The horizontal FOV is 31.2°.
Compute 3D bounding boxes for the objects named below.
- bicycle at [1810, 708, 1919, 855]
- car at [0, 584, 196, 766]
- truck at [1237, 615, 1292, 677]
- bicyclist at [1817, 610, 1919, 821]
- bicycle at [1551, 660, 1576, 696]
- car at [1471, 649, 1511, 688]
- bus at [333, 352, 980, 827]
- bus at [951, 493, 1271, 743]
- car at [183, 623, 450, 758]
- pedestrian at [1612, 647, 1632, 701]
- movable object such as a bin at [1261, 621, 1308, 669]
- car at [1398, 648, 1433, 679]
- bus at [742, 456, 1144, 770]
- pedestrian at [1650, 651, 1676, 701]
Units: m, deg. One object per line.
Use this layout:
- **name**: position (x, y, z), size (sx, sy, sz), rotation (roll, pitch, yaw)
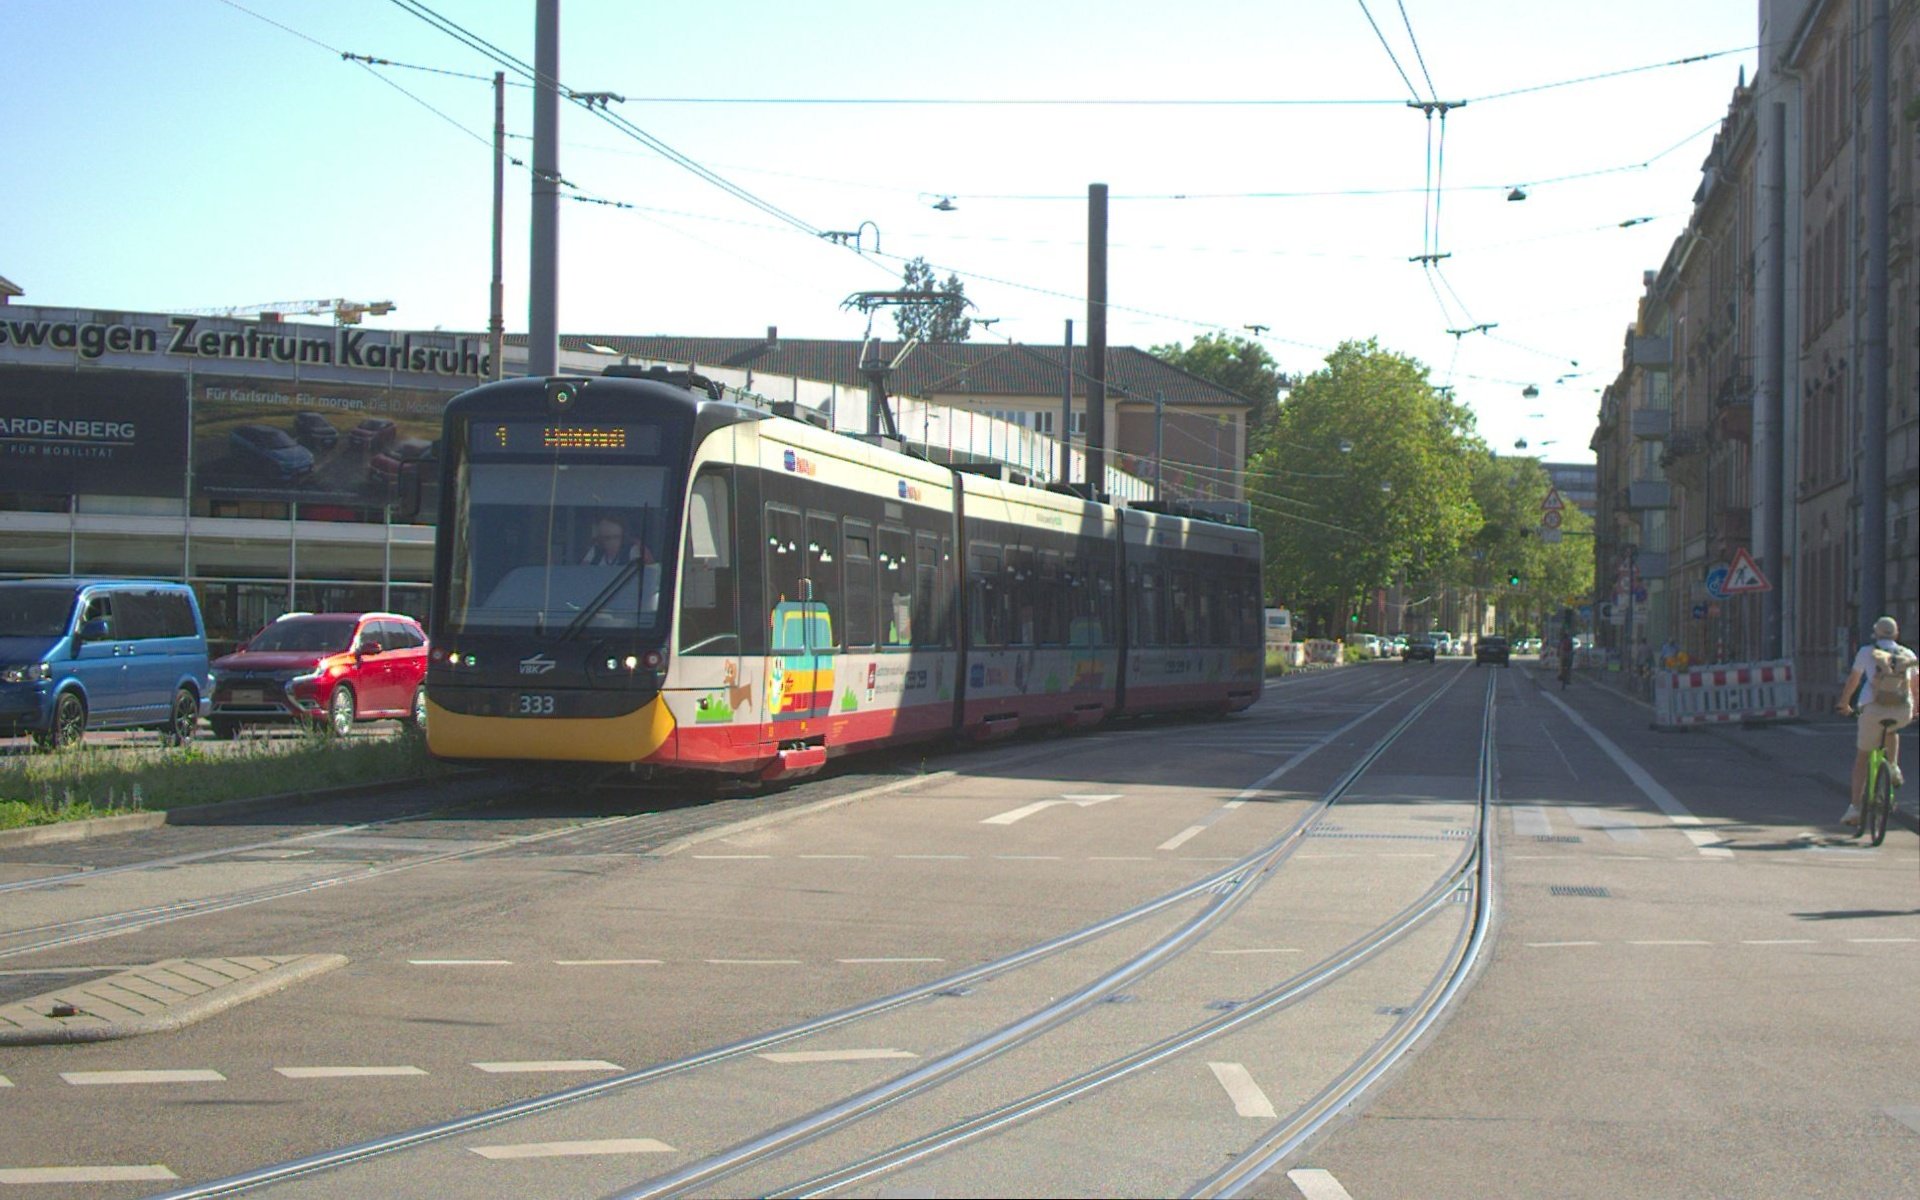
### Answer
- **bicycle**: position (7.505, 1.480, 28.368), size (0.531, 1.114, 1.933), rotation (3, -1, 2)
- **car**: position (-10.295, 0.838, 38.603), size (1.803, 1.927, 4.162), rotation (0, -1, 11)
- **truck**: position (14.948, 2.281, 168.656), size (2.538, 2.820, 6.374), rotation (3, -1, 5)
- **bicyclist**: position (7.590, 0.946, 28.330), size (0.681, 1.678, 1.120), rotation (3, -1, -1)
- **bicycle**: position (19.588, 2.534, 111.589), size (0.681, 1.111, 2.706), rotation (3, -1, 9)
- **car**: position (29.006, 3.739, 187.688), size (1.994, 2.007, 3.998), rotation (3, -1, 10)
- **bus**: position (-2.310, -0.005, 33.068), size (2.842, 3.577, 13.489), rotation (2, -1, 9)
- **bus**: position (2.686, 0.344, 55.810), size (2.843, 3.577, 11.262), rotation (1, -1, 14)
- **car**: position (-8.560, 1.206, 46.155), size (1.800, 1.713, 4.413), rotation (0, -1, 15)
- **pedestrian**: position (20.774, 2.331, 107.878), size (0.553, 1.695, 0.473), rotation (-1, -2, 15)
- **movable object such as a bin**: position (18.867, 2.611, 199.540), size (2.496, 2.636, 5.987), rotation (3, -1, 6)
- **car**: position (26.735, 3.731, 201.668), size (1.760, 1.691, 4.141), rotation (3, -1, 10)
- **bus**: position (0.066, 0.222, 45.139), size (2.842, 3.577, 10.719), rotation (1, -1, 13)
- **pedestrian**: position (22.433, 2.424, 109.727), size (0.798, 1.599, 0.652), rotation (1, -1, 11)
